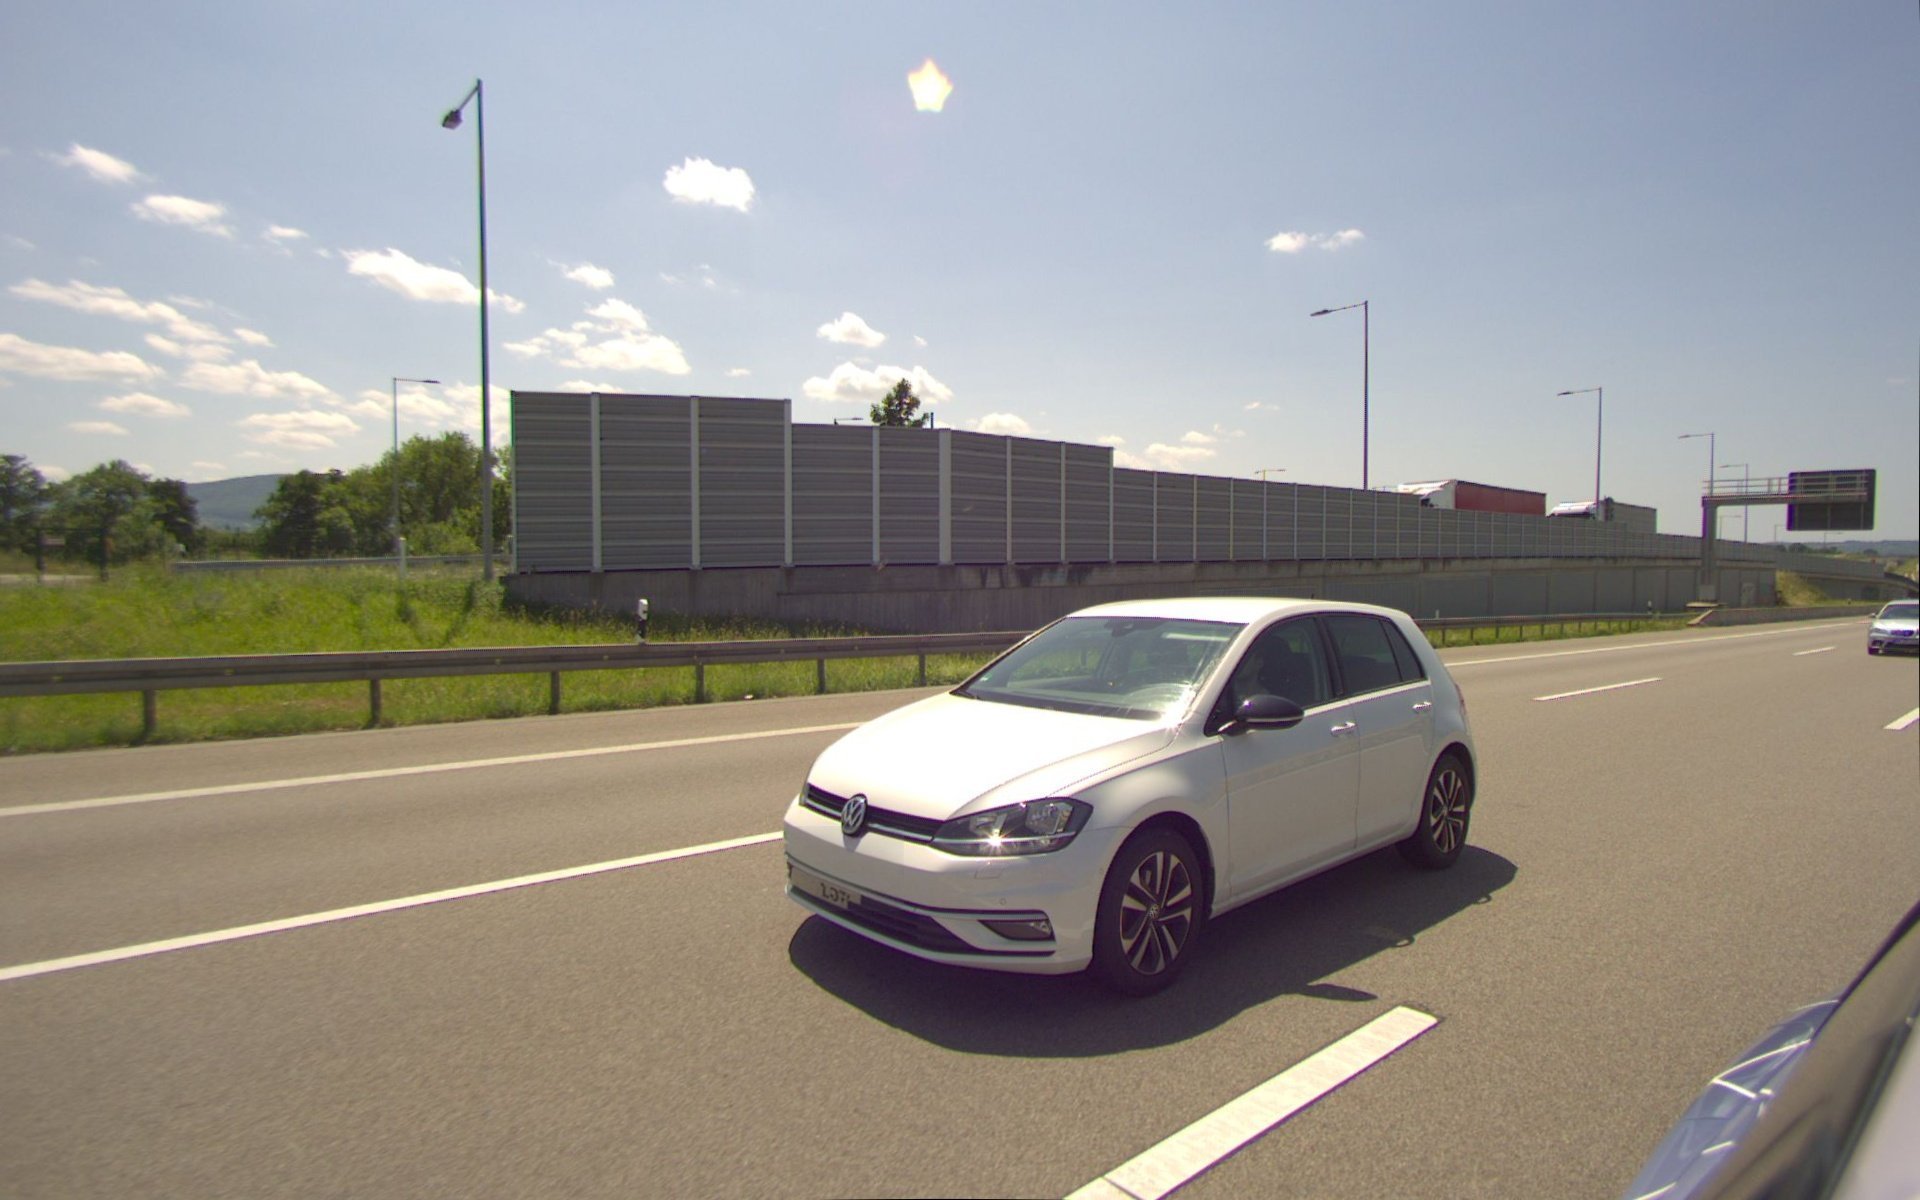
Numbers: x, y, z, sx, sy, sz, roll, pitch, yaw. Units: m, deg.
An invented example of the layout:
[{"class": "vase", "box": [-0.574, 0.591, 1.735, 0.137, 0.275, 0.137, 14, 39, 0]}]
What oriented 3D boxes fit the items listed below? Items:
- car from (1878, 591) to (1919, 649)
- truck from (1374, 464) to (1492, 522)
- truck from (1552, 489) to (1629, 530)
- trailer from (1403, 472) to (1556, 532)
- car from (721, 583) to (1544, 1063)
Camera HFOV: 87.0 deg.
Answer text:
[{"class": "car", "box": [25.330, 0.495, 26.441, 3.932, 1.407, 1.632, -1, 1, -43]}, {"class": "truck", "box": [23.137, -5.105, 49.316, 7.165, 2.232, 2.710, -1, 1, -43]}, {"class": "truck", "box": [40.921, -5.800, 65.641, 5.934, 2.258, 2.726, -1, 1, -43]}, {"class": "trailer", "box": [27.892, -5.041, 53.770, 13.785, 2.252, 2.722, -1, 1, -43]}, {"class": "car", "box": [1.255, 0.659, 5.313, 4.610, 1.451, 1.778, -1, 1, -42]}]
